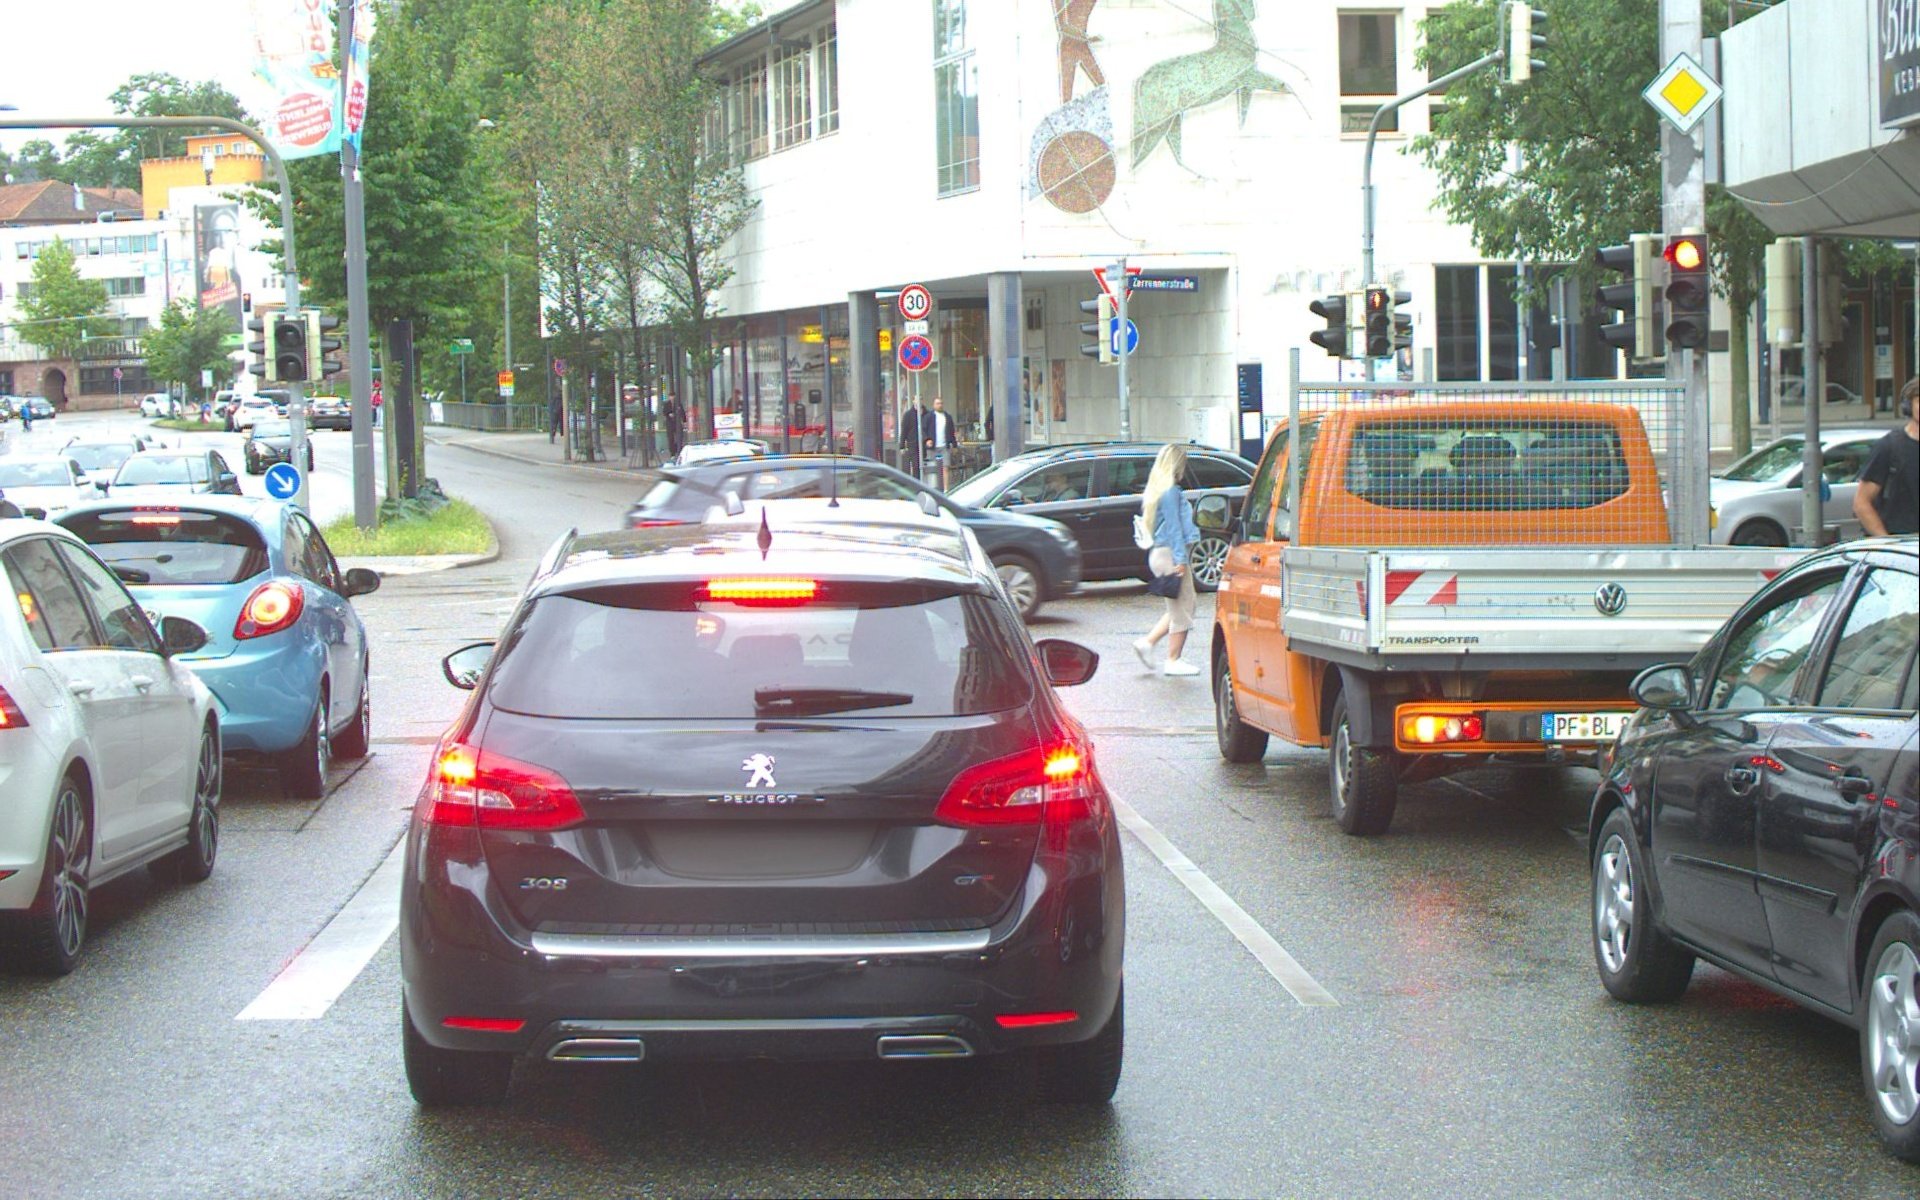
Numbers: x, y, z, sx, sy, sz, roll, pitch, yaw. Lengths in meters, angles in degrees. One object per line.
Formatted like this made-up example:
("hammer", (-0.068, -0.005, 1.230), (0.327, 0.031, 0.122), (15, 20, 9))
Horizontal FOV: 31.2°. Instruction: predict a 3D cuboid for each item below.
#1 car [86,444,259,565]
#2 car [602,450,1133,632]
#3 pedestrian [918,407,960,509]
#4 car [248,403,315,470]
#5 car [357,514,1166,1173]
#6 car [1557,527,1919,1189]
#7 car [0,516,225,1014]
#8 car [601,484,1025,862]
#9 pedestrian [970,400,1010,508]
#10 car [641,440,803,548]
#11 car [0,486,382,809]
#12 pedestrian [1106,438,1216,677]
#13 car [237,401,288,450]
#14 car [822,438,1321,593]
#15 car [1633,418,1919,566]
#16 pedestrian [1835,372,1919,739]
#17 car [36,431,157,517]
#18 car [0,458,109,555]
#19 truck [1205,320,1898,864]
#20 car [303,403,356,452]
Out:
("car", (-11.008, -1.309, 48.293), (1.744, 1.574, 4.000), (1, 0, -4))
("car", (-0.859, -0.557, 30.533), (4.490, 1.449, 1.794), (-1, 3, -9))
("pedestrian", (-0.362, -2.486, 60.297), (0.637, 1.752, 0.733), (1, 0, 6))
("car", (-18.708, -4.489, 94.866), (1.744, 1.634, 4.001), (1, 0, -11))
("car", (-0.523, 0.496, 9.528), (1.777, 1.424, 3.843), (0, 2, -3))
("car", (2.847, 0.548, 9.143), (1.616, 1.424, 3.843), (0, 2, -4))
("car", (-3.749, 0.438, 11.959), (1.777, 1.424, 3.843), (0, 2, -4))
("car", (-0.623, 0.234, 15.766), (1.696, 1.481, 3.794), (1, 2, -1))
("pedestrian", (0.532, -2.585, 61.136), (0.637, 1.891, 0.733), (1, 0, 6))
("car", (-3.649, -1.563, 52.029), (1.724, 1.485, 4.734), (1, 0, -13))
("car", (-3.980, 0.167, 17.964), (1.632, 1.481, 3.610), (0, 2, -5))
("pedestrian", (1.425, -0.299, 24.452), (0.748, 1.674, 0.709), (1, 0, 2))
("car", (-29.751, -7.405, 146.532), (1.705, 1.875, 4.001), (1, 0, -18))
("car", (1.087, -0.852, 34.326), (4.721, 1.481, 1.639), (0, 2, -11))
("car", (9.299, -1.118, 36.504), (3.894, 1.481, 1.624), (1, 0, -13))
("pedestrian", (4.933, -0.241, 17.527), (0.742, 1.809, 0.773), (-4, 0, 11))
("car", (-15.416, -2.258, 61.488), (1.632, 1.481, 3.611), (0, 2, -7))
("car", (-14.679, -1.516, 54.982), (1.632, 1.481, 3.611), (0, 2, -7))
("truck", (2.556, -0.132, 16.313), (2.177, 2.165, 5.021), (1, 2, -3))
("car", (-27.045, -7.380, 147.388), (1.705, 1.929, 4.001), (1, 0, -18))
